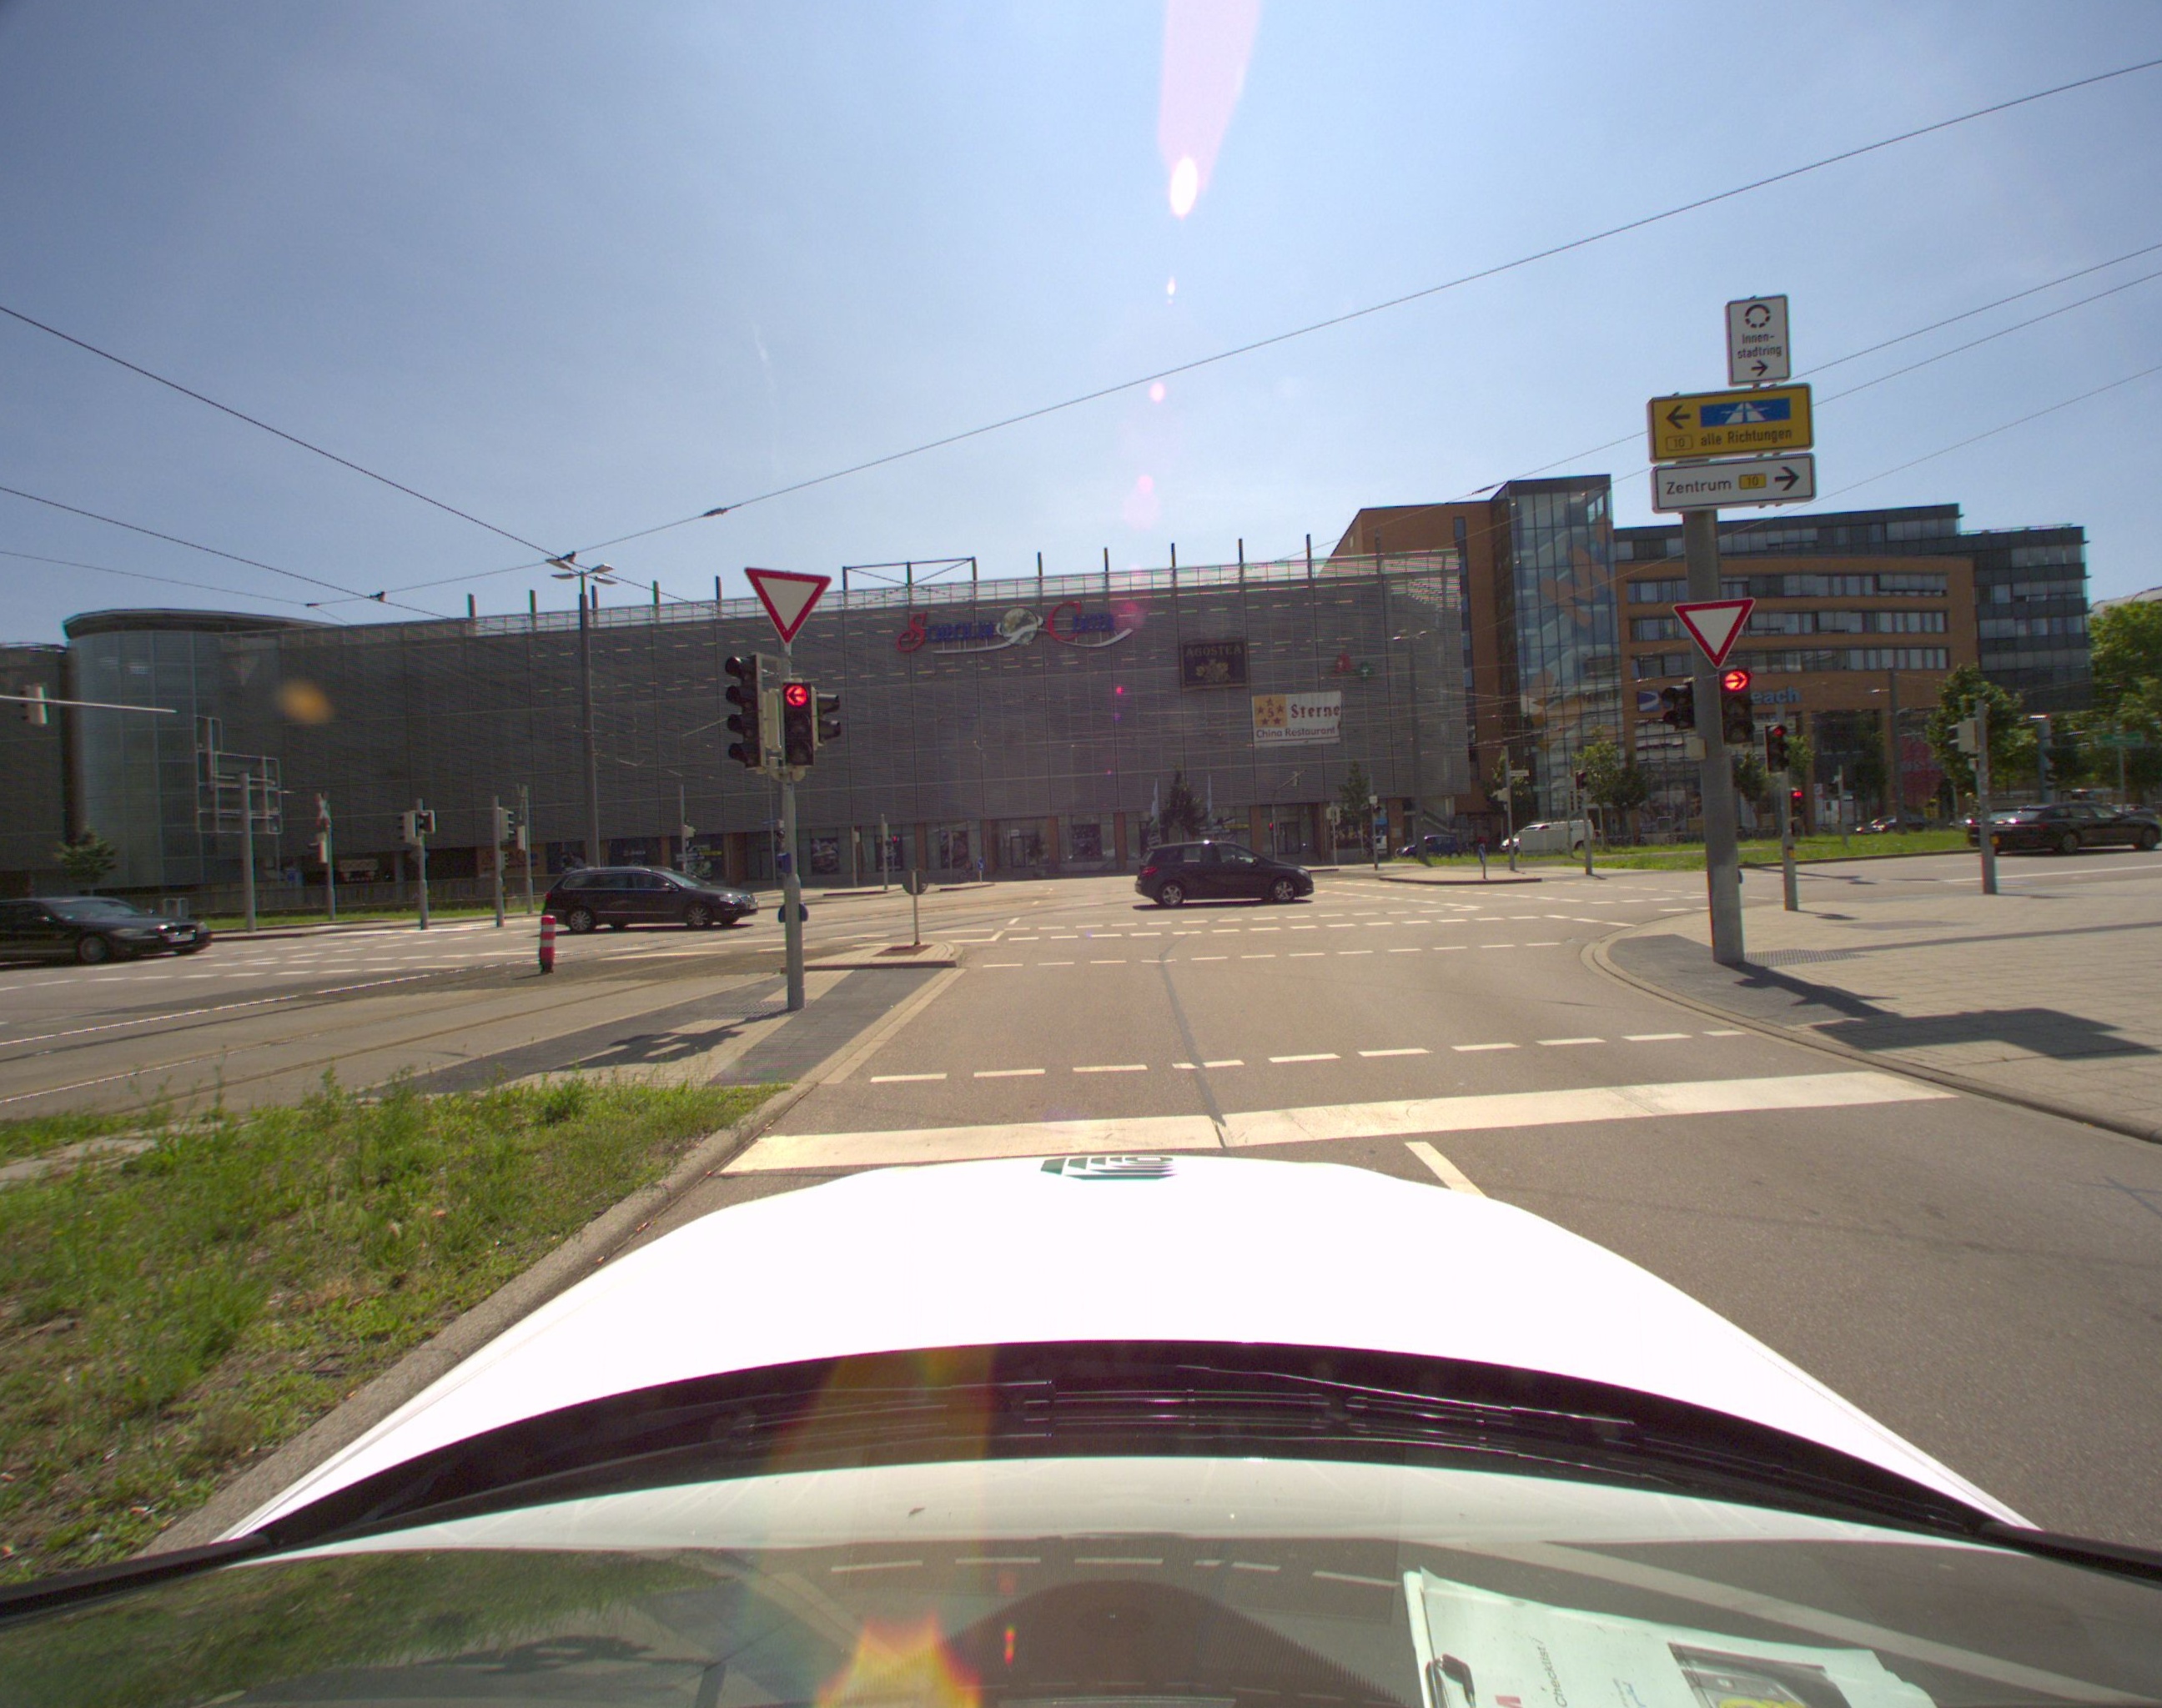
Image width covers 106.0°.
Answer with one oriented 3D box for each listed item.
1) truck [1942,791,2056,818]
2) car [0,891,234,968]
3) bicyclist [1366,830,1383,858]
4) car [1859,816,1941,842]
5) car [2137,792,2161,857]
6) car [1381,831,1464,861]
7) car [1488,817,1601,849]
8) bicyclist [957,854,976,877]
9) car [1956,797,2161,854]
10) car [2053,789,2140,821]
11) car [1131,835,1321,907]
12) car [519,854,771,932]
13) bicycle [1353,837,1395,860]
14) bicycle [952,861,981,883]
[{"bbox_3d":[111.867,-5.988,99.461,1.999,2.809,9.185,-2,1,-18],"label":"truck"},{"bbox_3d":[-20.650,1.554,16.916,4.292,1.342,1.635,-2,1,-1],"label":"car"},{"bbox_3d":[21.555,-0.706,59.830,0.908,2.013,0.749,-2,0,4],"label":"bicyclist"},{"bbox_3d":[53.058,-1.587,52.774,3.984,1.530,1.680,-2,1,-8],"label":"car"},{"bbox_3d":[28.716,-0.860,19.450,4.537,1.576,1.998,-4,0,-2],"label":"car"},{"bbox_3d":[19.464,-0.475,46.555,3.973,1.538,1.881,-2,1,0],"label":"car"},{"bbox_3d":[26.591,-1.191,46.846,5.450,1.668,1.998,-2,1,-3],"label":"car"},{"bbox_3d":[-7.859,0.790,55.736,1.033,1.571,0.779,-2,0,9],"label":"bicyclist"},{"bbox_3d":[28.713,-0.811,23.576,4.749,1.460,1.888,-2,1,-1],"label":"car"},{"bbox_3d":[69.721,-3.330,55.950,3.984,2.013,1.995,-2,1,-8],"label":"car"},{"bbox_3d":[3.487,0.391,20.169,4.308,1.553,1.999,-2,1,-2],"label":"car"},{"bbox_3d":[-10.291,0.871,19.558,4.845,1.580,1.998,-2,1,-4],"label":"car"},{"bbox_3d":[21.522,-0.423,59.842,2.835,1.557,0.706,-2,0,5],"label":"bicycle"},{"bbox_3d":[-7.830,1.207,55.831,1.055,1.390,3.032,-2,1,10],"label":"bicycle"}]
